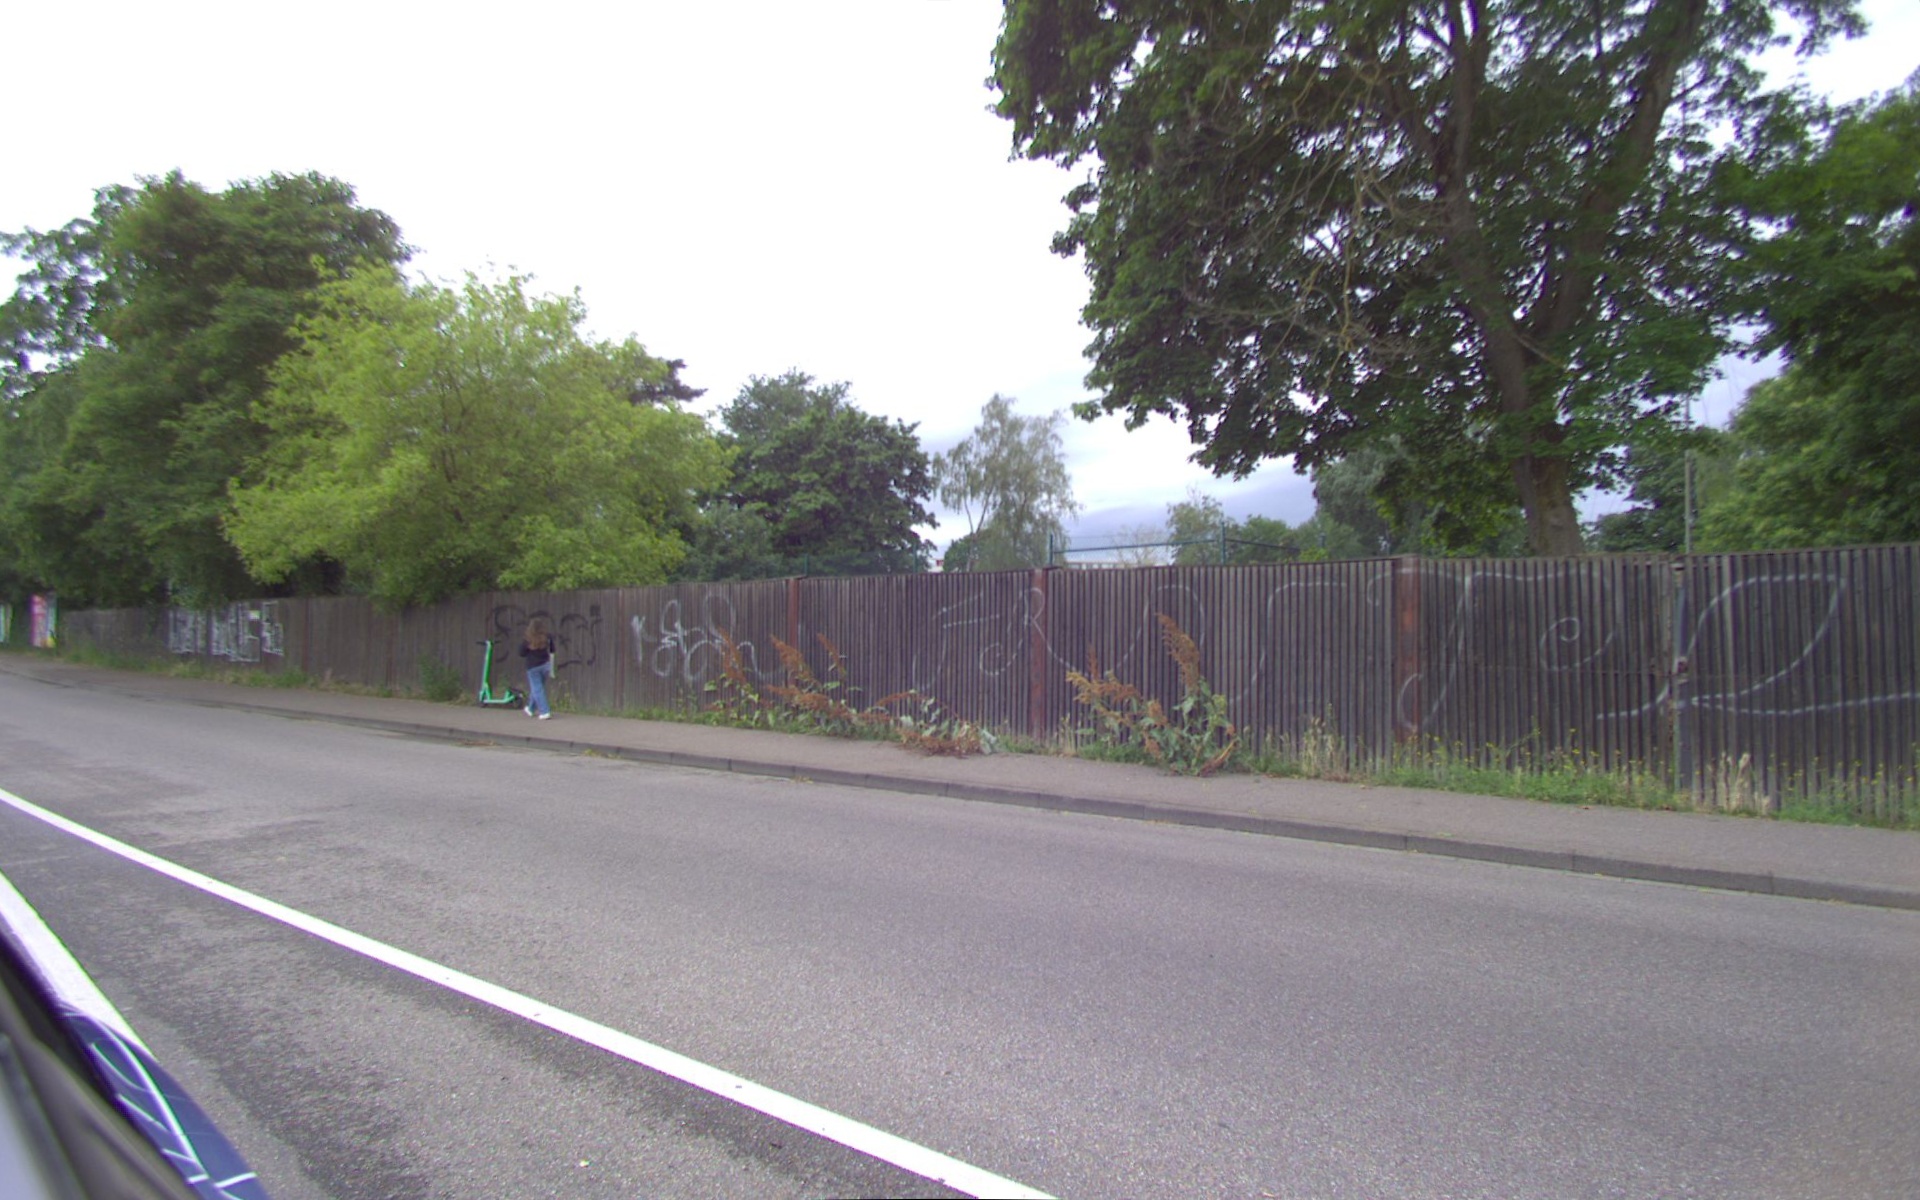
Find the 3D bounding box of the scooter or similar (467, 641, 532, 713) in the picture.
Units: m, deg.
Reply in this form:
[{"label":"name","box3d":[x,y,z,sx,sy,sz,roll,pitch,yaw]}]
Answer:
[{"label":"scooter or similar","box3d":[-7.821,1.285,17.180,1.301,1.179,0.419,-2,-2,36]}]

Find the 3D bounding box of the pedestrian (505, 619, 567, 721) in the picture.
[{"label":"pedestrian","box3d":[-6.558,1.062,15.664,0.723,1.541,0.606,-2,-2,36]}]
